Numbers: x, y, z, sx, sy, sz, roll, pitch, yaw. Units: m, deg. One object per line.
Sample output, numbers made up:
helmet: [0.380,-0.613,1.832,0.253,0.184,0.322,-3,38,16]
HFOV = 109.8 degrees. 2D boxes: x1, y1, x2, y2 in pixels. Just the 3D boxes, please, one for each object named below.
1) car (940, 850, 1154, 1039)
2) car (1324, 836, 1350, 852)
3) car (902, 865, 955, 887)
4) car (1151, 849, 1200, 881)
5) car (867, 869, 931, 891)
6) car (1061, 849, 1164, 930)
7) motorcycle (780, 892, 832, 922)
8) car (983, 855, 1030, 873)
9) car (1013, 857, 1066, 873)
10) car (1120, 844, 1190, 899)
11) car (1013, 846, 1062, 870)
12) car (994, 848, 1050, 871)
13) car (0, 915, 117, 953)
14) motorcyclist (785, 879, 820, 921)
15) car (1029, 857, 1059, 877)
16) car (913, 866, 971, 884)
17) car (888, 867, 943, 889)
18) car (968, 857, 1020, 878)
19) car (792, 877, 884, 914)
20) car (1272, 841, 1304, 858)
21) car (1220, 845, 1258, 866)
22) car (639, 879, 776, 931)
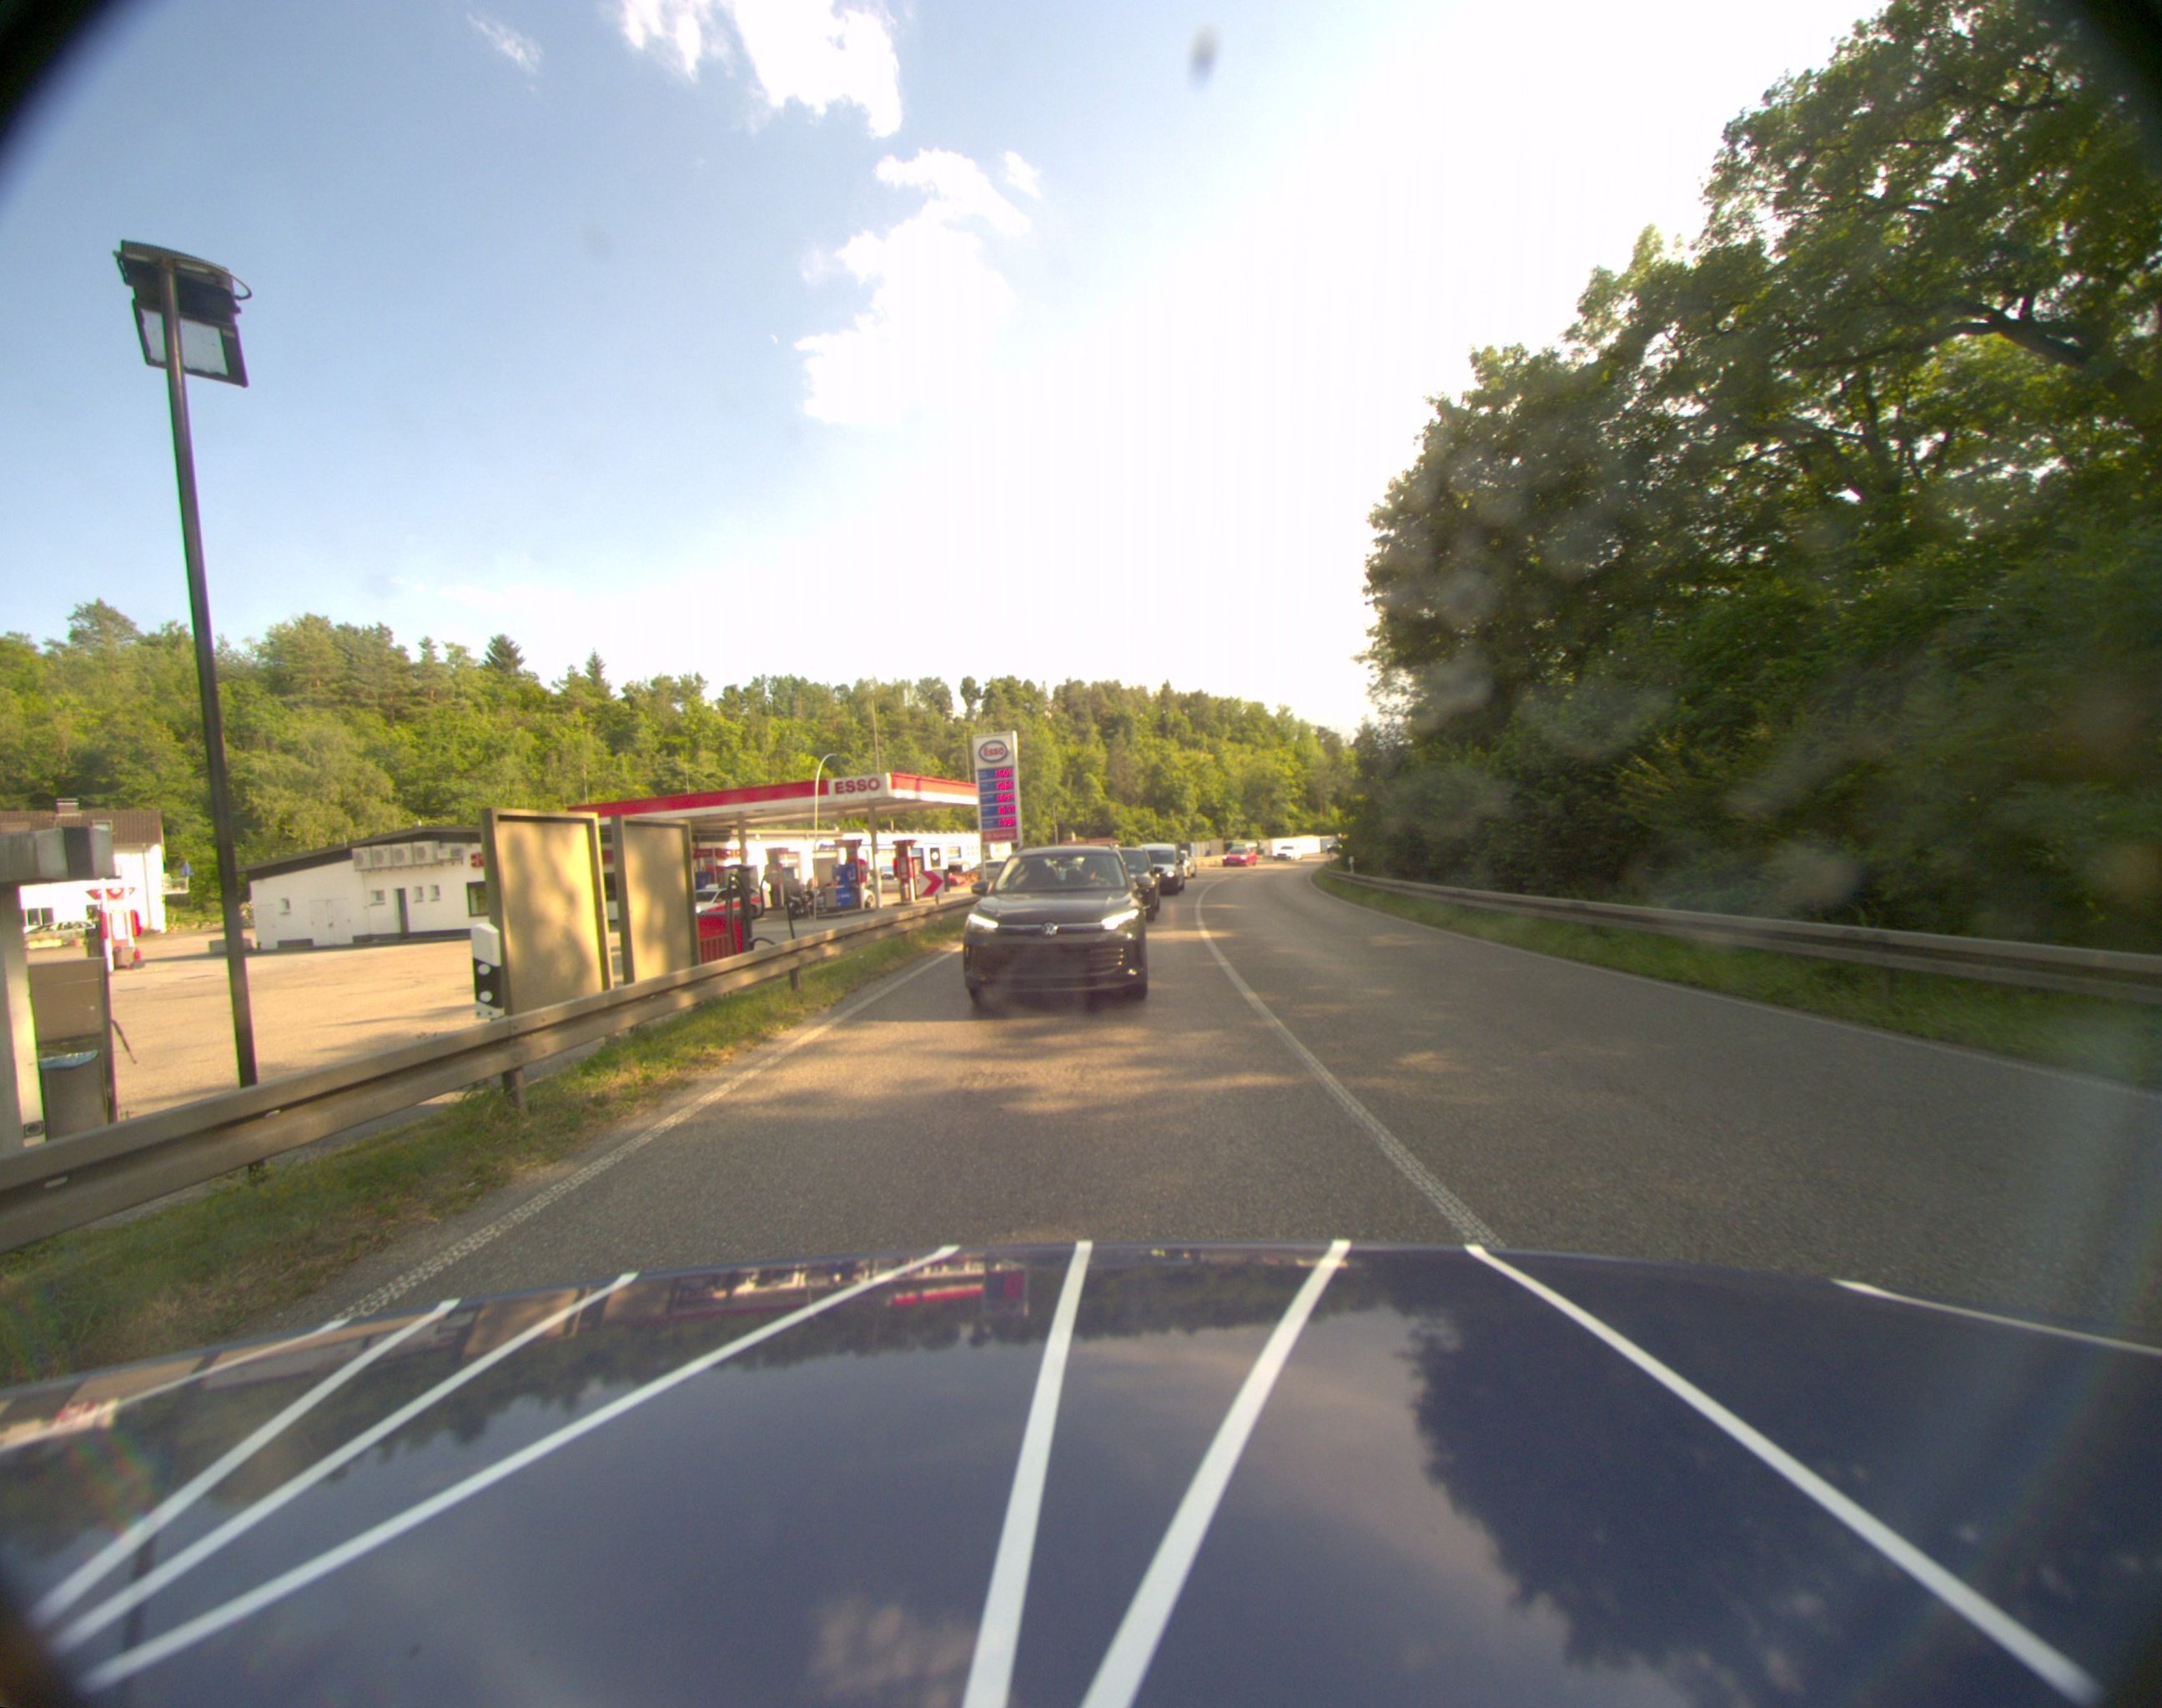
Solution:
car: [-0.144,0.808,9.014,1.859,1.630,4.442,-2,0,4]
car: [30.223,-1.203,89.600,1.856,1.587,4.544,-4,0,32]
car: [-11.705,1.684,58.495,3.549,1.437,1.735,-3,1,15]
car: [5.058,0.530,40.079,1.895,1.437,4.480,-4,0,14]
car: [-12.899,1.859,53.849,3.963,1.347,1.778,-2,1,11]
car: [0.870,0.721,17.619,1.847,1.561,4.260,-2,1,9]
motorcycle: [-11.260,2.157,31.203,0.763,1.006,2.343,-3,1,14]
car: [-7.506,1.022,76.474,4.246,1.601,1.896,-2,1,15]
car: [-3.969,1.104,73.523,4.727,1.426,1.959,-1,1,13]
car: [2.784,0.553,27.547,1.866,1.711,4.767,-1,2,13]
car: [-4.823,0.423,84.638,4.915,2.435,2.209,-1,1,13]
car: [-6.291,0.594,81.078,5.481,2.261,2.297,-1,1,15]
car: [-65.097,5.061,47.867,2.694,1.826,5.175,-4,0,41]
motorcyclist: [-11.345,1.857,30.966,0.859,1.595,0.928,-3,1,14]
car: [-3.317,1.145,68.498,1.793,1.587,3.991,-1,1,11]
car: [-11.044,1.684,60.525,4.072,1.340,1.896,-1,1,15]
car: [-12.261,1.809,56.338,3.555,1.398,1.692,-3,1,15]
car: [-7.751,1.200,67.783,4.254,1.719,1.893,-1,1,12]
car: [-10.982,1.866,34.743,1.845,1.311,4.394,-3,0,15]
car: [19.687,-0.440,72.055,1.912,1.457,4.544,-2,1,29]
car: [12.067,0.073,57.886,1.856,1.412,4.426,0,2,26]
car: [-15.074,2.013,31.093,2.095,1.618,5.185,-3,0,14]
